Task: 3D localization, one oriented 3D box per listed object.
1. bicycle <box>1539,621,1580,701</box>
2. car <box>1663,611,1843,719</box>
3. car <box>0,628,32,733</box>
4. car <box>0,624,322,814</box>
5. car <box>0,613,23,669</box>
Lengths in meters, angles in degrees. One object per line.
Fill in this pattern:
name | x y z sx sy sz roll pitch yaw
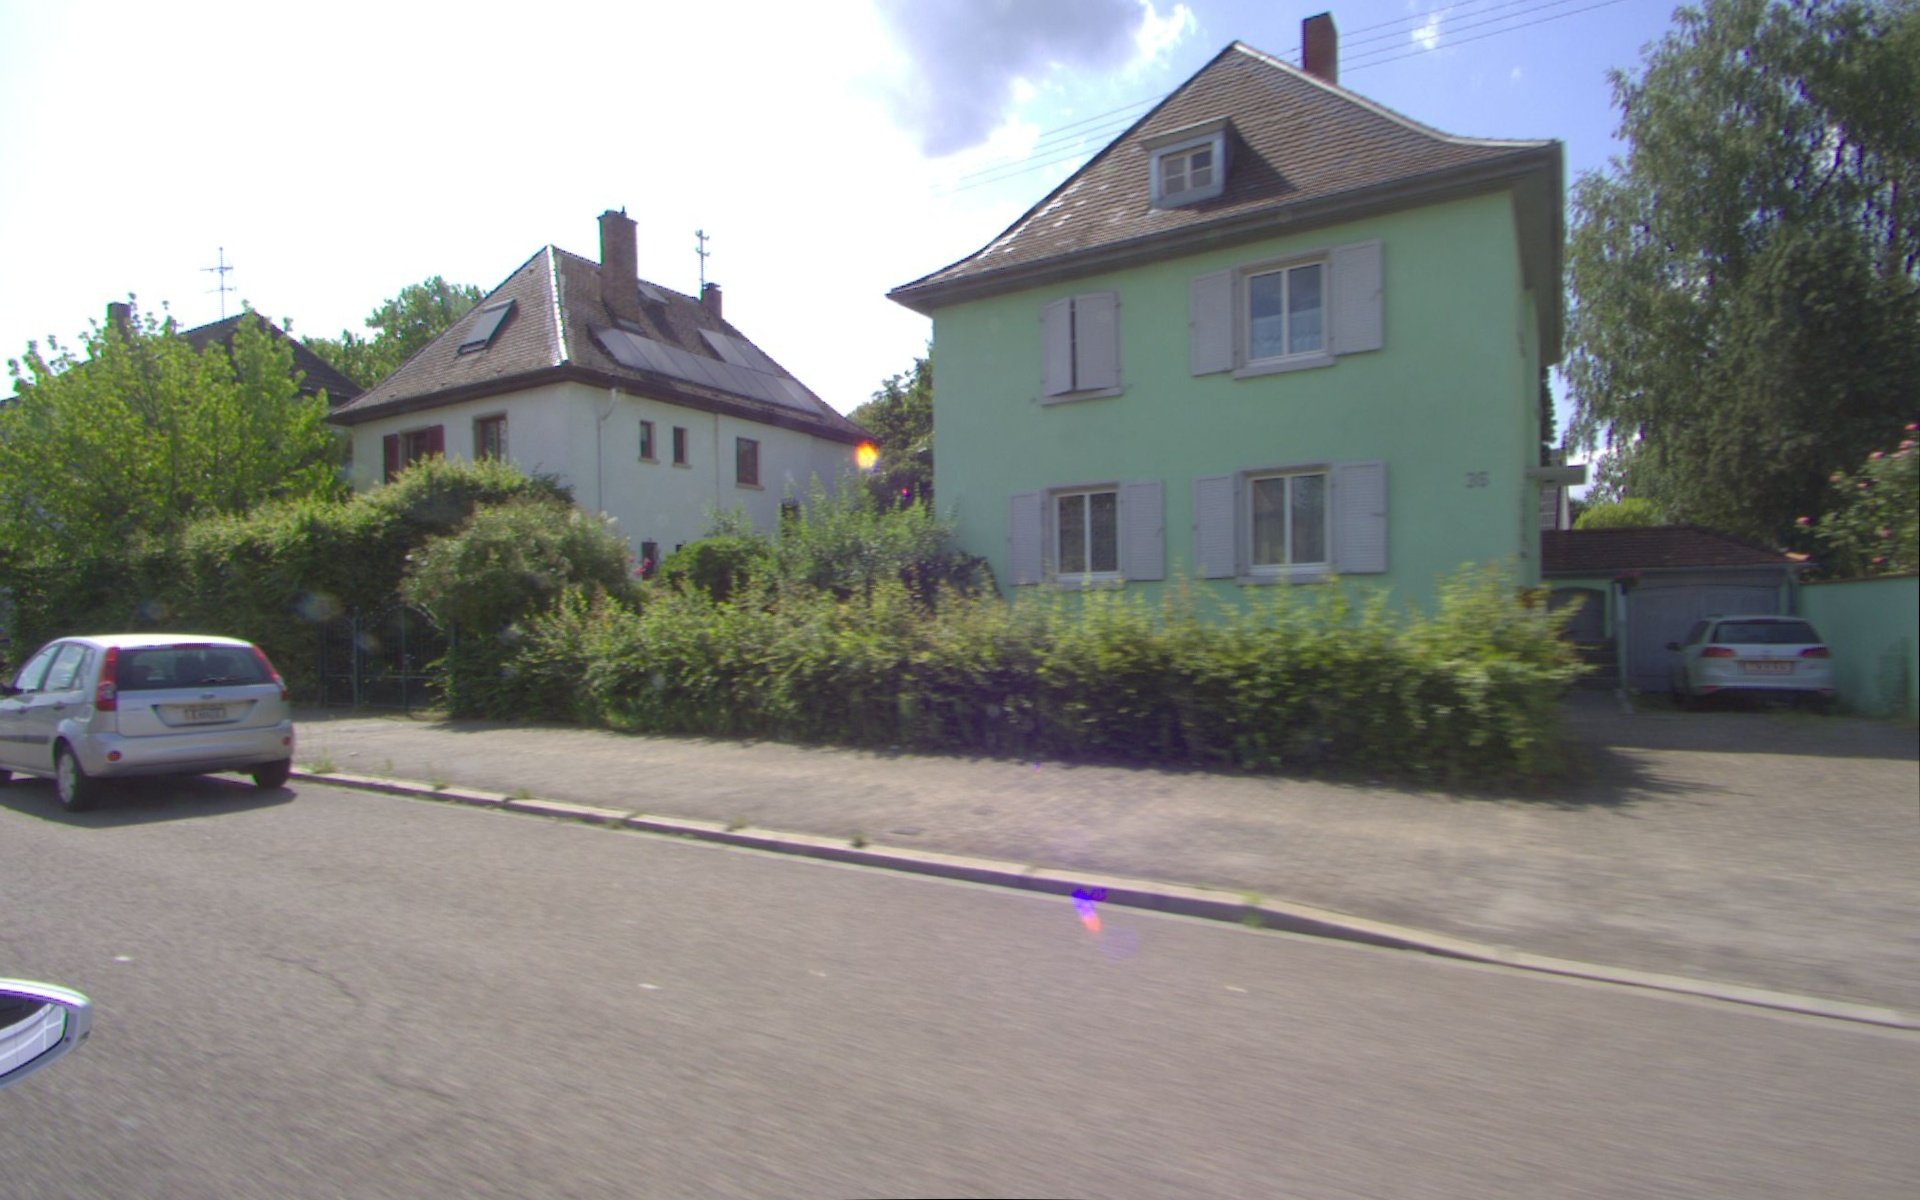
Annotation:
bicycle | 8.565 0.842 14.336 0.412 1.071 1.596 0 0 28
car | 12.251 0.973 15.714 1.713 1.466 3.982 -1 -3 31
car | -15.908 1.178 14.786 4.932 1.473 1.888 -2 -2 30
car | -8.170 1.028 9.802 4.037 1.508 1.734 -2 -3 33
car | -31.064 1.303 30.793 4.694 1.669 1.755 -1 0 27
